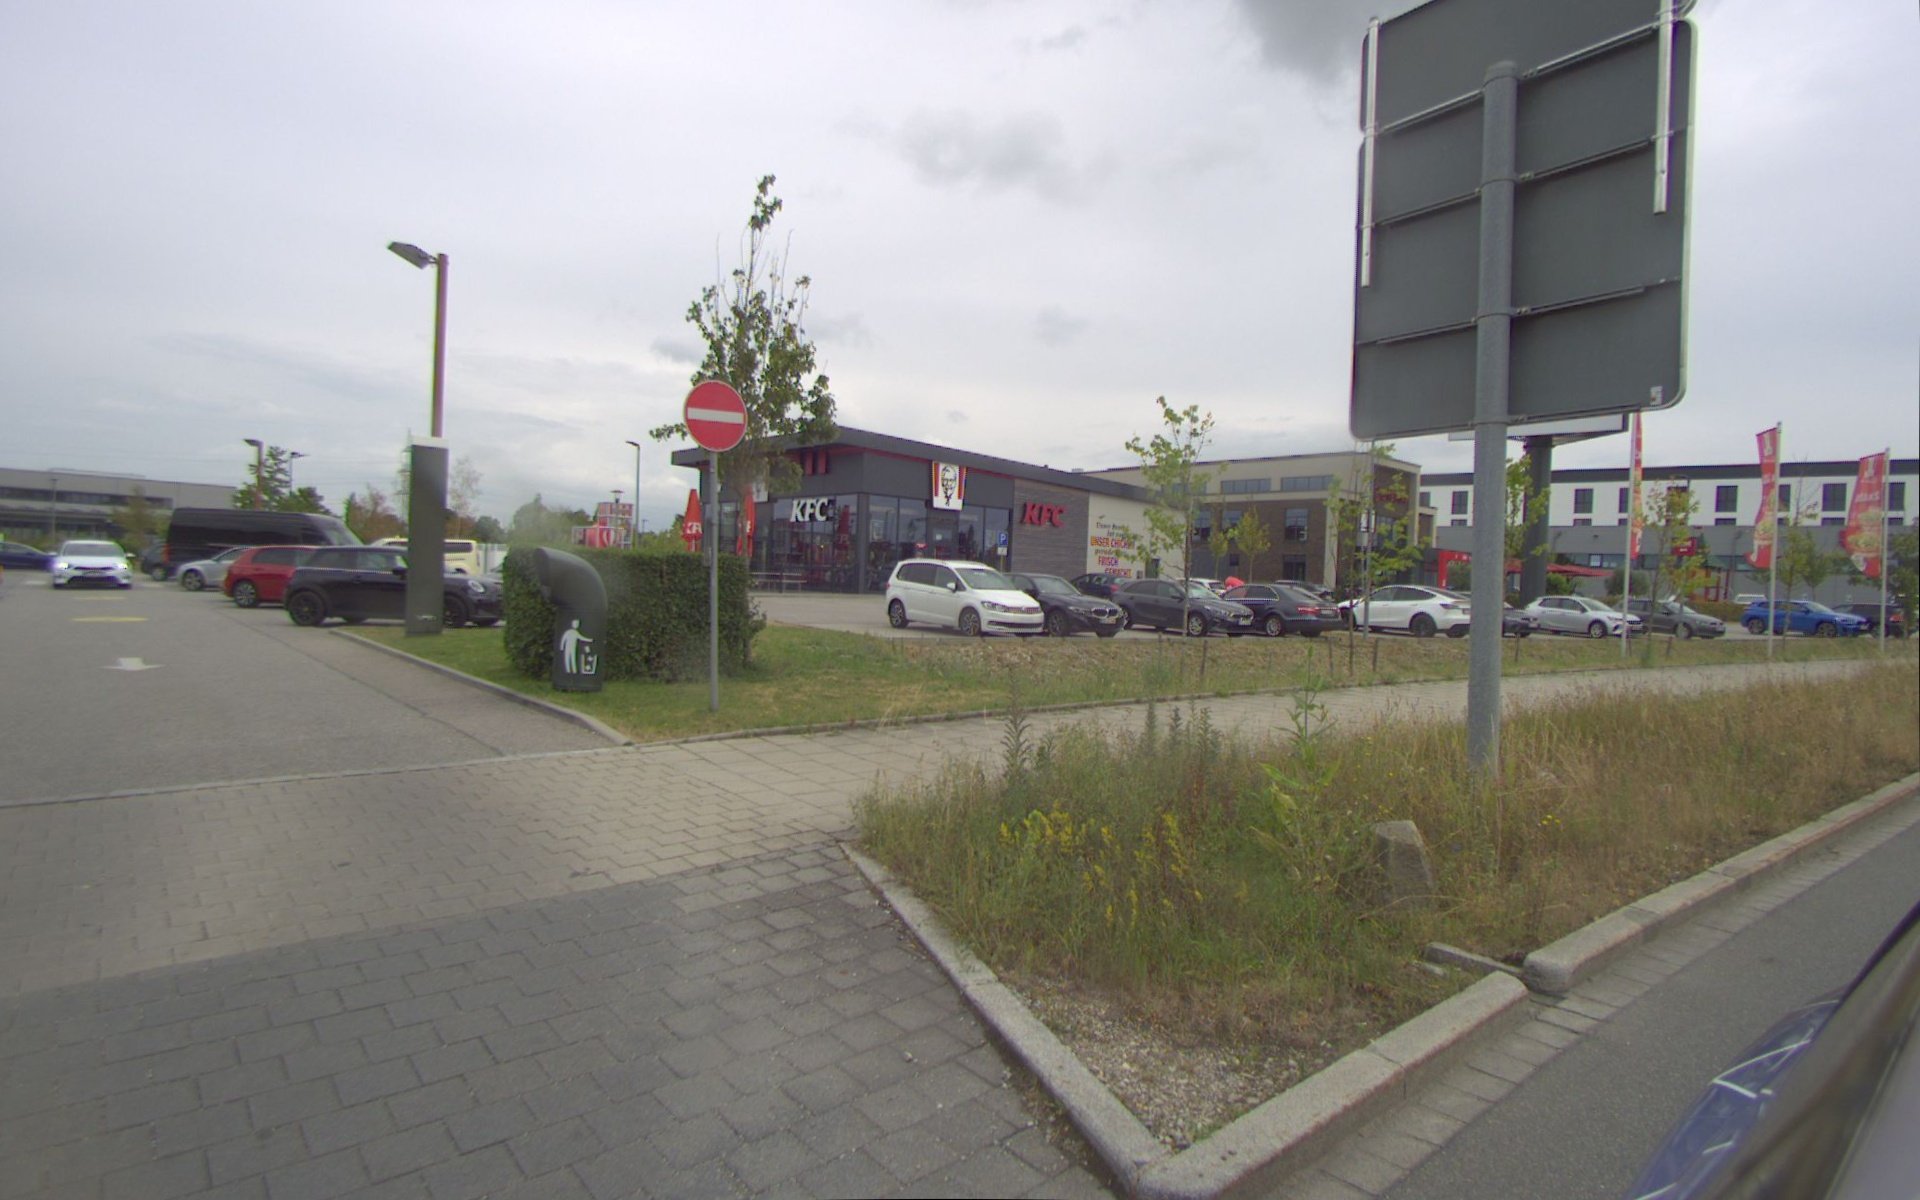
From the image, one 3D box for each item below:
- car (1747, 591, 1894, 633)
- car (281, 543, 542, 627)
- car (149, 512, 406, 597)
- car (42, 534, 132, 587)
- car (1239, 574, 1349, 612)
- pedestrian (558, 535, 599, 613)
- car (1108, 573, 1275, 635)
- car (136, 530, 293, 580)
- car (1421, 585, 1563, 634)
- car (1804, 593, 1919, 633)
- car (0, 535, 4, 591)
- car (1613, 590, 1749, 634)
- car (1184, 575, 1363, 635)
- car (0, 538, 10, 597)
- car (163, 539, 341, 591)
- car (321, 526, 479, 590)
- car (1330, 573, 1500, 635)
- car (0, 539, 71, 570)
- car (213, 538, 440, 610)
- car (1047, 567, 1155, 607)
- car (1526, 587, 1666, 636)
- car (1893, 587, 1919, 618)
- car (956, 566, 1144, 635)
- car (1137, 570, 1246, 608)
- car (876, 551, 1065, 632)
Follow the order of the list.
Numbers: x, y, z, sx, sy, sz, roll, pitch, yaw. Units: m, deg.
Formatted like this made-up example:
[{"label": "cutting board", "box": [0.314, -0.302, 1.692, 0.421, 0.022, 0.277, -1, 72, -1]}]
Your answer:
[{"label": "car", "box": [36.203, 0.468, 42.712, 1.924, 1.539, 4.286, 1, 1, -21]}, {"label": "car", "box": [-9.895, -0.285, 18.503, 3.774, 1.329, 1.819, 2, 1, -3]}, {"label": "car", "box": [-23.043, -1.533, 34.377, 7.189, 2.533, 2.282, 2, 1, 0]}, {"label": "car", "box": [-26.664, -1.208, 31.026, 1.921, 1.461, 4.216, 1, 2, -39]}, {"label": "car", "box": [15.762, -0.345, 47.959, 1.943, 1.537, 4.570, 1, 3, -41]}, {"label": "pedestrian", "box": [-9.136, -0.625, 24.272, 0.466, 1.827, 0.794, 2, 1, 26]}, {"label": "car", "box": [6.155, 0.071, 27.297, 1.907, 1.456, 4.097, 1, 2, -37]}, {"label": "car", "box": [-29.276, -1.737, 39.893, 1.850, 1.838, 4.643, 2, 2, 29]}, {"label": "car", "box": [18.530, 0.283, 35.419, 1.900, 1.503, 4.008, 0, 2, -26]}, {"label": "car", "box": [38.792, 0.545, 43.015, 1.940, 1.512, 4.009, 1, 1, -18]}, {"label": "car", "box": [-29.785, -1.079, 28.163, 1.961, 1.677, 4.736, 2, 1, -2]}, {"label": "car", "box": [27.489, 0.432, 38.704, 1.850, 1.512, 3.778, 1, 1, -23]}, {"label": "car", "box": [8.754, 0.101, 28.623, 1.993, 1.487, 4.533, 1, 1, -35]}, {"label": "car", "box": [-24.877, -0.788, 23.090, 1.962, 1.461, 4.734, 2, 1, 0]}, {"label": "car", "box": [-21.773, -1.075, 31.252, 4.139, 1.461, 1.956, 2, 1, 1]}, {"label": "car", "box": [-23.313, -1.716, 42.397, 5.575, 2.380, 2.540, 1, 1, -28]}, {"label": "car", "box": [14.482, 0.084, 32.507, 2.047, 1.665, 4.583, 1, 3, -30]}, {"label": "car", "box": [-47.003, -2.288, 49.966, 4.564, 1.461, 1.954, 0, 2, -40]}, {"label": "car", "box": [-14.663, -0.607, 23.587, 4.080, 1.447, 2.005, 2, 1, 4]}, {"label": "car", "box": [6.063, -0.573, 44.016, 2.012, 1.537, 4.372, 1, 3, -41]}, {"label": "car", "box": [23.119, 0.397, 36.936, 1.863, 1.499, 3.883, 1, 3, -25]}, {"label": "car", "box": [64.002, 0.185, 67.597, 1.989, 2.012, 4.573, 2, 1, 37]}, {"label": "car", "box": [2.086, -0.036, 24.641, 2.036, 1.454, 4.480, 1, 2, -38]}, {"label": "car", "box": [10.626, -0.518, 46.756, 2.044, 1.537, 4.573, 1, 3, -39]}, {"label": "car", "box": [0.136, -0.246, 23.120, 1.903, 1.660, 4.356, 1, 2, -40]}]
